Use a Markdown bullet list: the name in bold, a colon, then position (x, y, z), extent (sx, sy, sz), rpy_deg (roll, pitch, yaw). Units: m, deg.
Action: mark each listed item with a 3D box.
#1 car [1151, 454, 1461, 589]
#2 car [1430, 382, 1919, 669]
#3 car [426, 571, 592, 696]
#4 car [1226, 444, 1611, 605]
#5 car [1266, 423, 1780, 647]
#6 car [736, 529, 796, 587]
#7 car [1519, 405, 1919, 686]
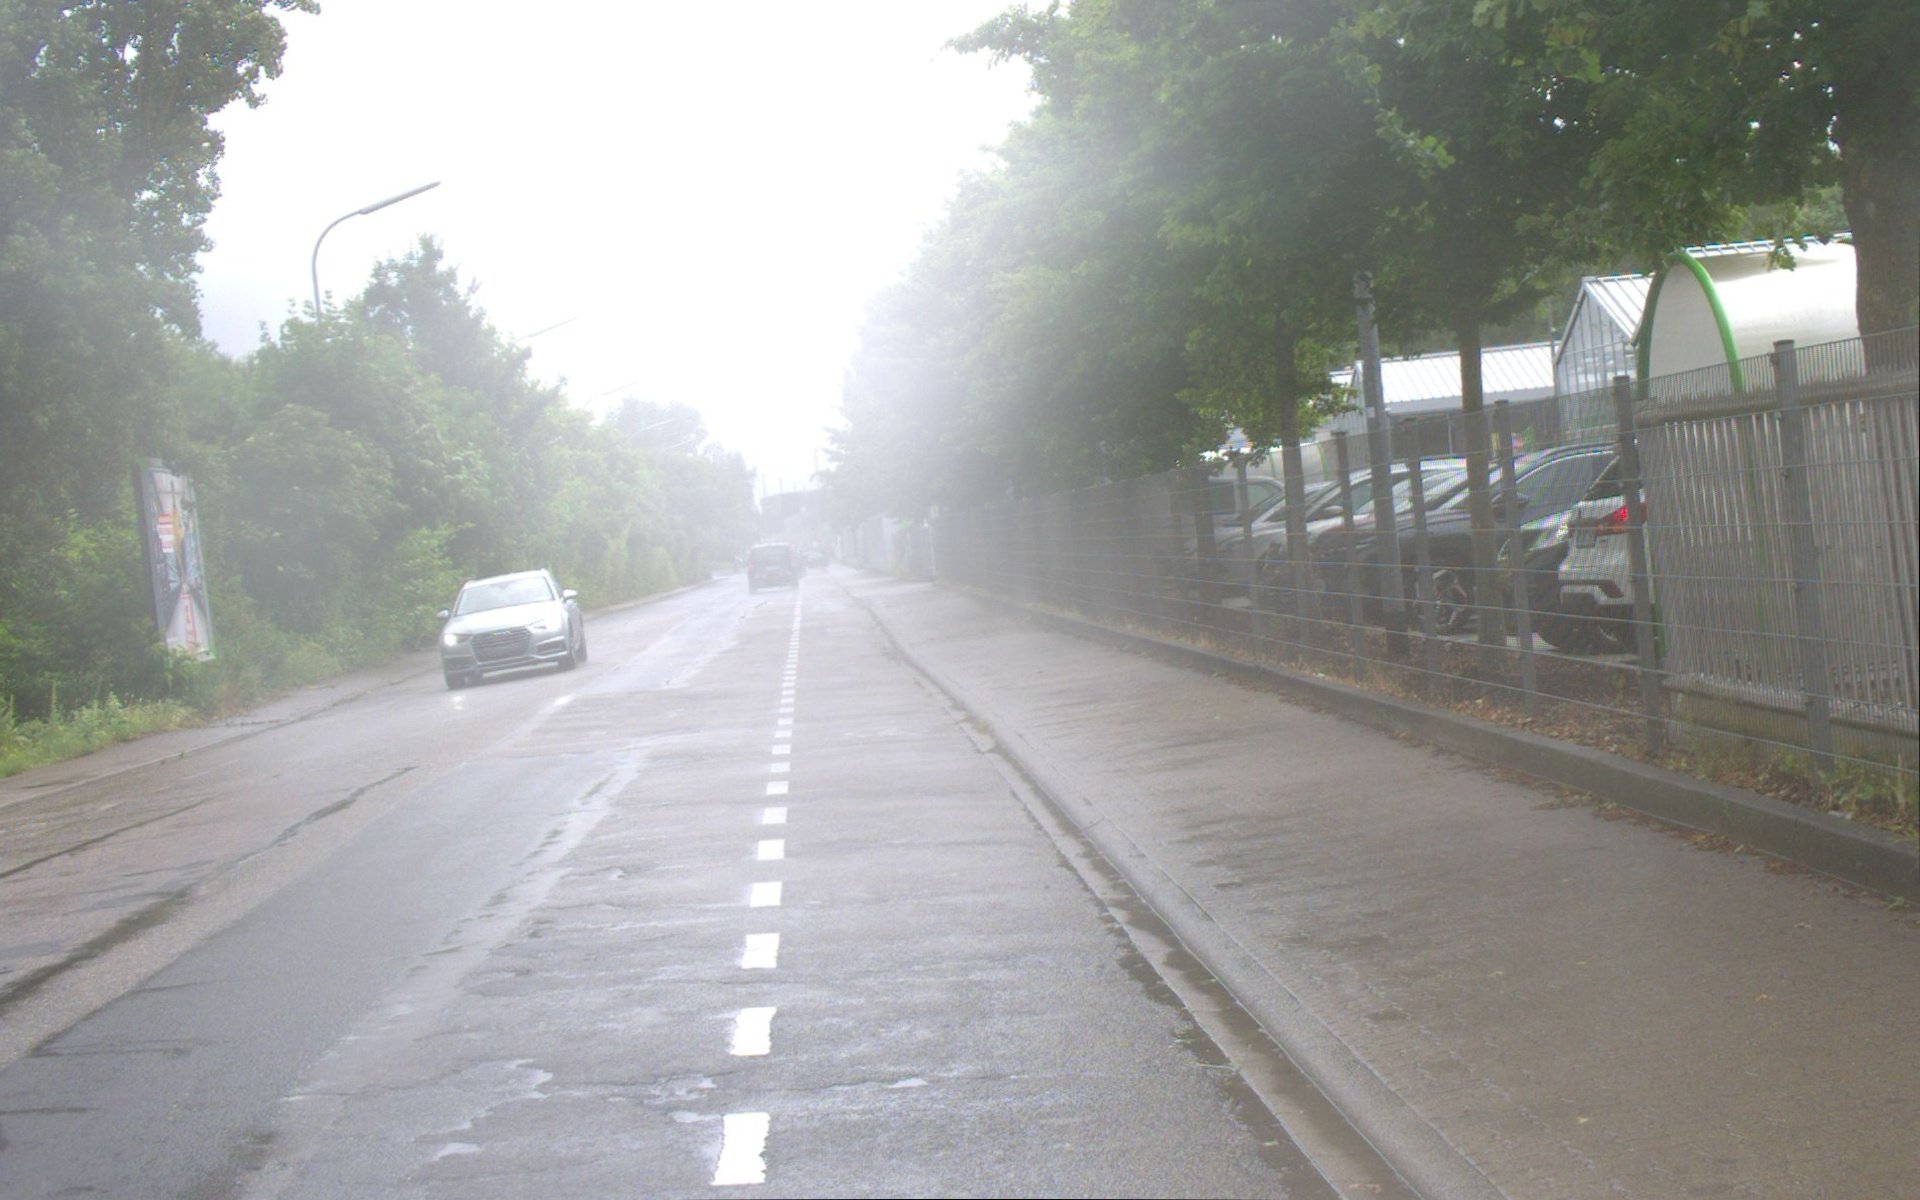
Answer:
- **car**: position (5.140, -1.176, 51.404), extent (4.208, 1.583, 1.824), rpy_deg (-6, 1, -5)
- **car**: position (5.932, -0.614, 26.026), extent (4.207, 1.788, 1.824), rpy_deg (-6, 1, -9)
- **car**: position (-6.401, 0.439, 49.219), extent (1.733, 1.445, 4.381), rpy_deg (-8, 1, -1)
- **car**: position (5.591, -0.928, 42.165), extent (4.207, 1.528, 1.824), rpy_deg (-6, 1, -9)
- **car**: position (5.181, -0.604, 31.859), extent (4.207, 1.612, 1.824), rpy_deg (-6, 1, -9)
- **car**: position (-7.191, -1.553, 127.725), extent (1.993, 1.903, 4.201), rpy_deg (-6, 0, -3)
- **car**: position (6.108, -0.472, 23.136), extent (4.208, 1.595, 1.824), rpy_deg (-6, 1, -3)
